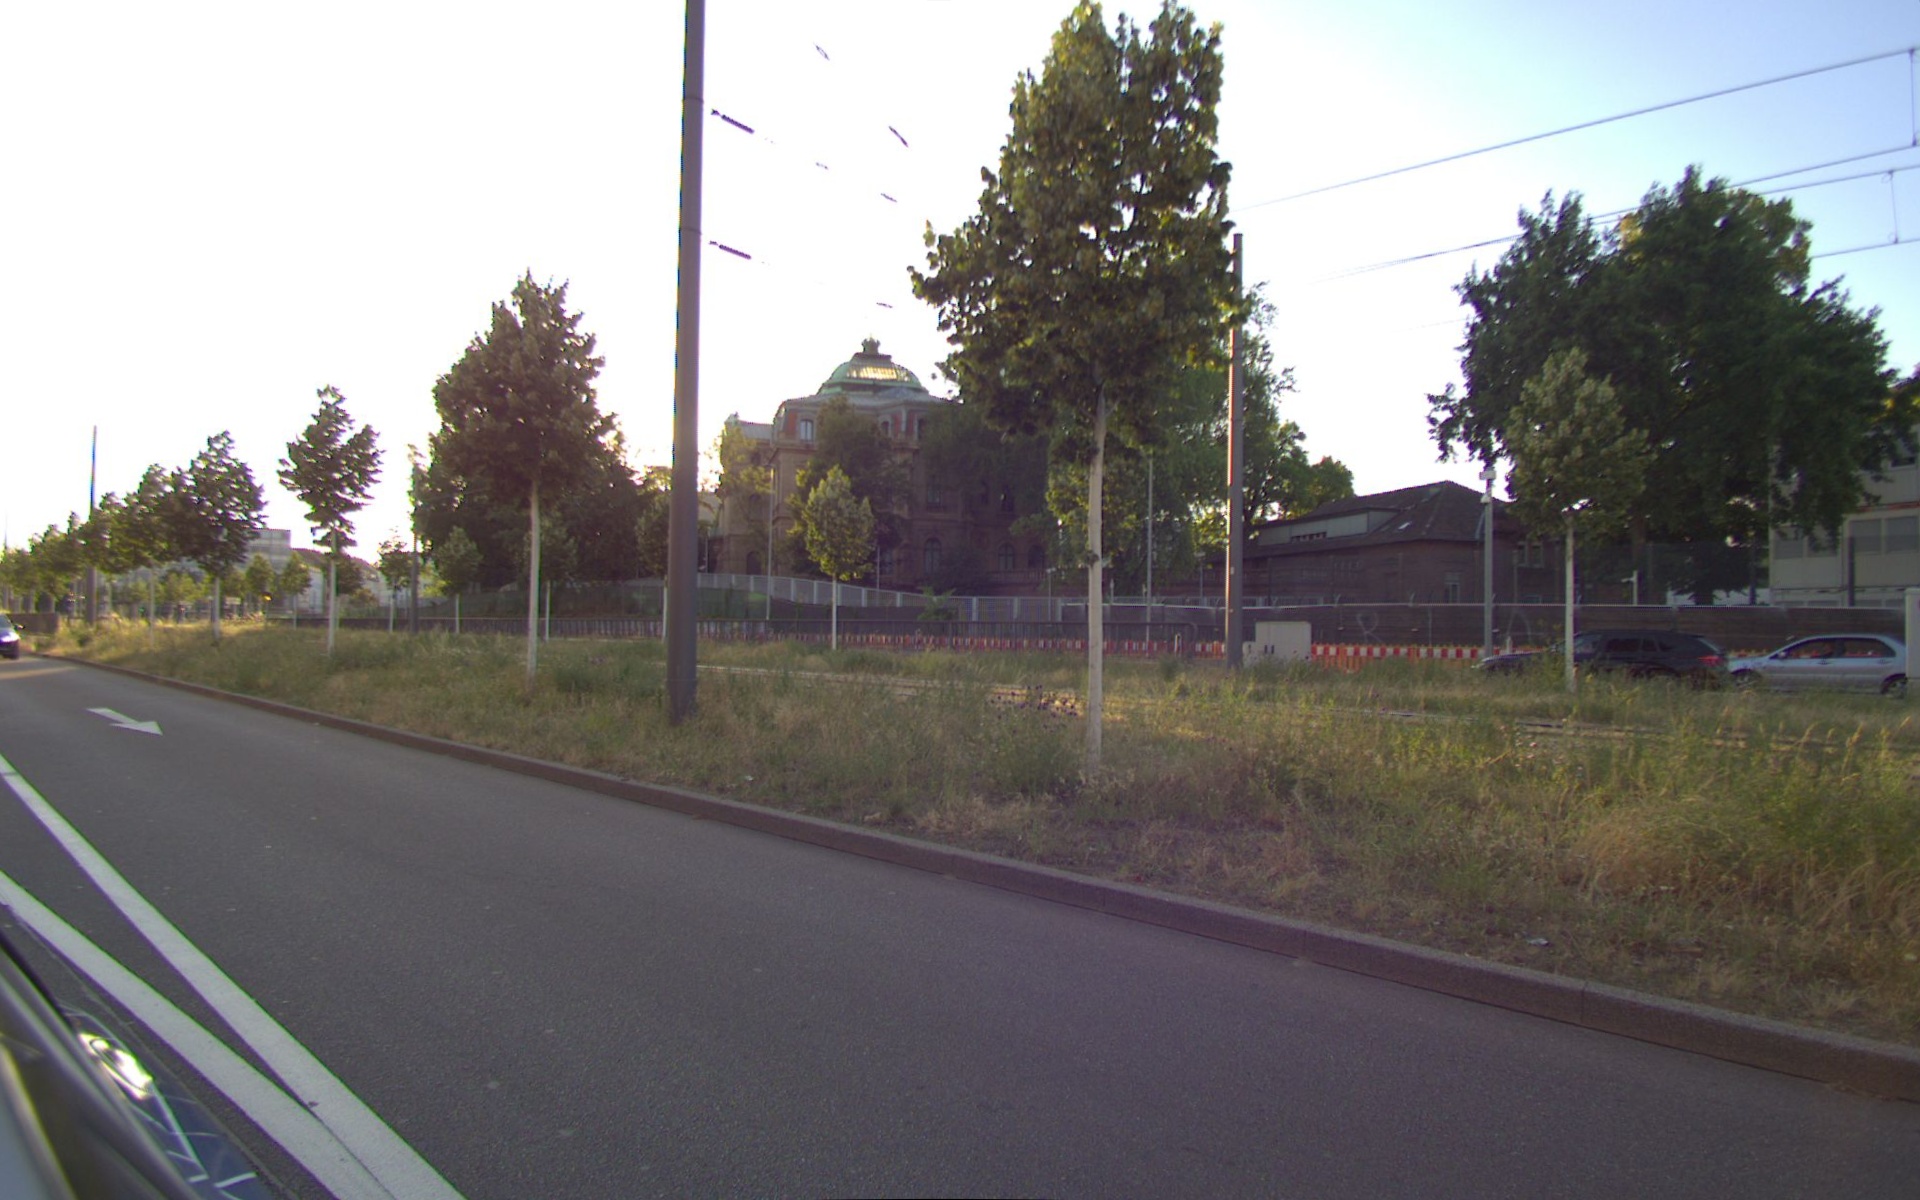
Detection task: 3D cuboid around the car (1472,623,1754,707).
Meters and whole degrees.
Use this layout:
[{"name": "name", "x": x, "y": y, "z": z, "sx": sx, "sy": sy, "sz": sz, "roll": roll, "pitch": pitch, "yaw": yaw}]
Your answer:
[{"name": "car", "x": 13.206, "y": 1.277, "z": 20.649, "sx": 4.522, "sy": 1.492, "sz": 1.972, "roll": -3, "pitch": -2, "yaw": 43}]

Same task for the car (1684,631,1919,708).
[{"name": "car", "x": 18.712, "y": 1.468, "z": 22.080, "sx": 4.521, "sy": 1.492, "sz": 1.972, "roll": -3, "pitch": -2, "yaw": 42}]

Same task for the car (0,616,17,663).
[{"name": "car", "x": -32.176, "y": 1.318, "z": 32.952, "sx": 4.843, "sy": 1.444, "sz": 1.834, "roll": -3, "pitch": -2, "yaw": 43}]
